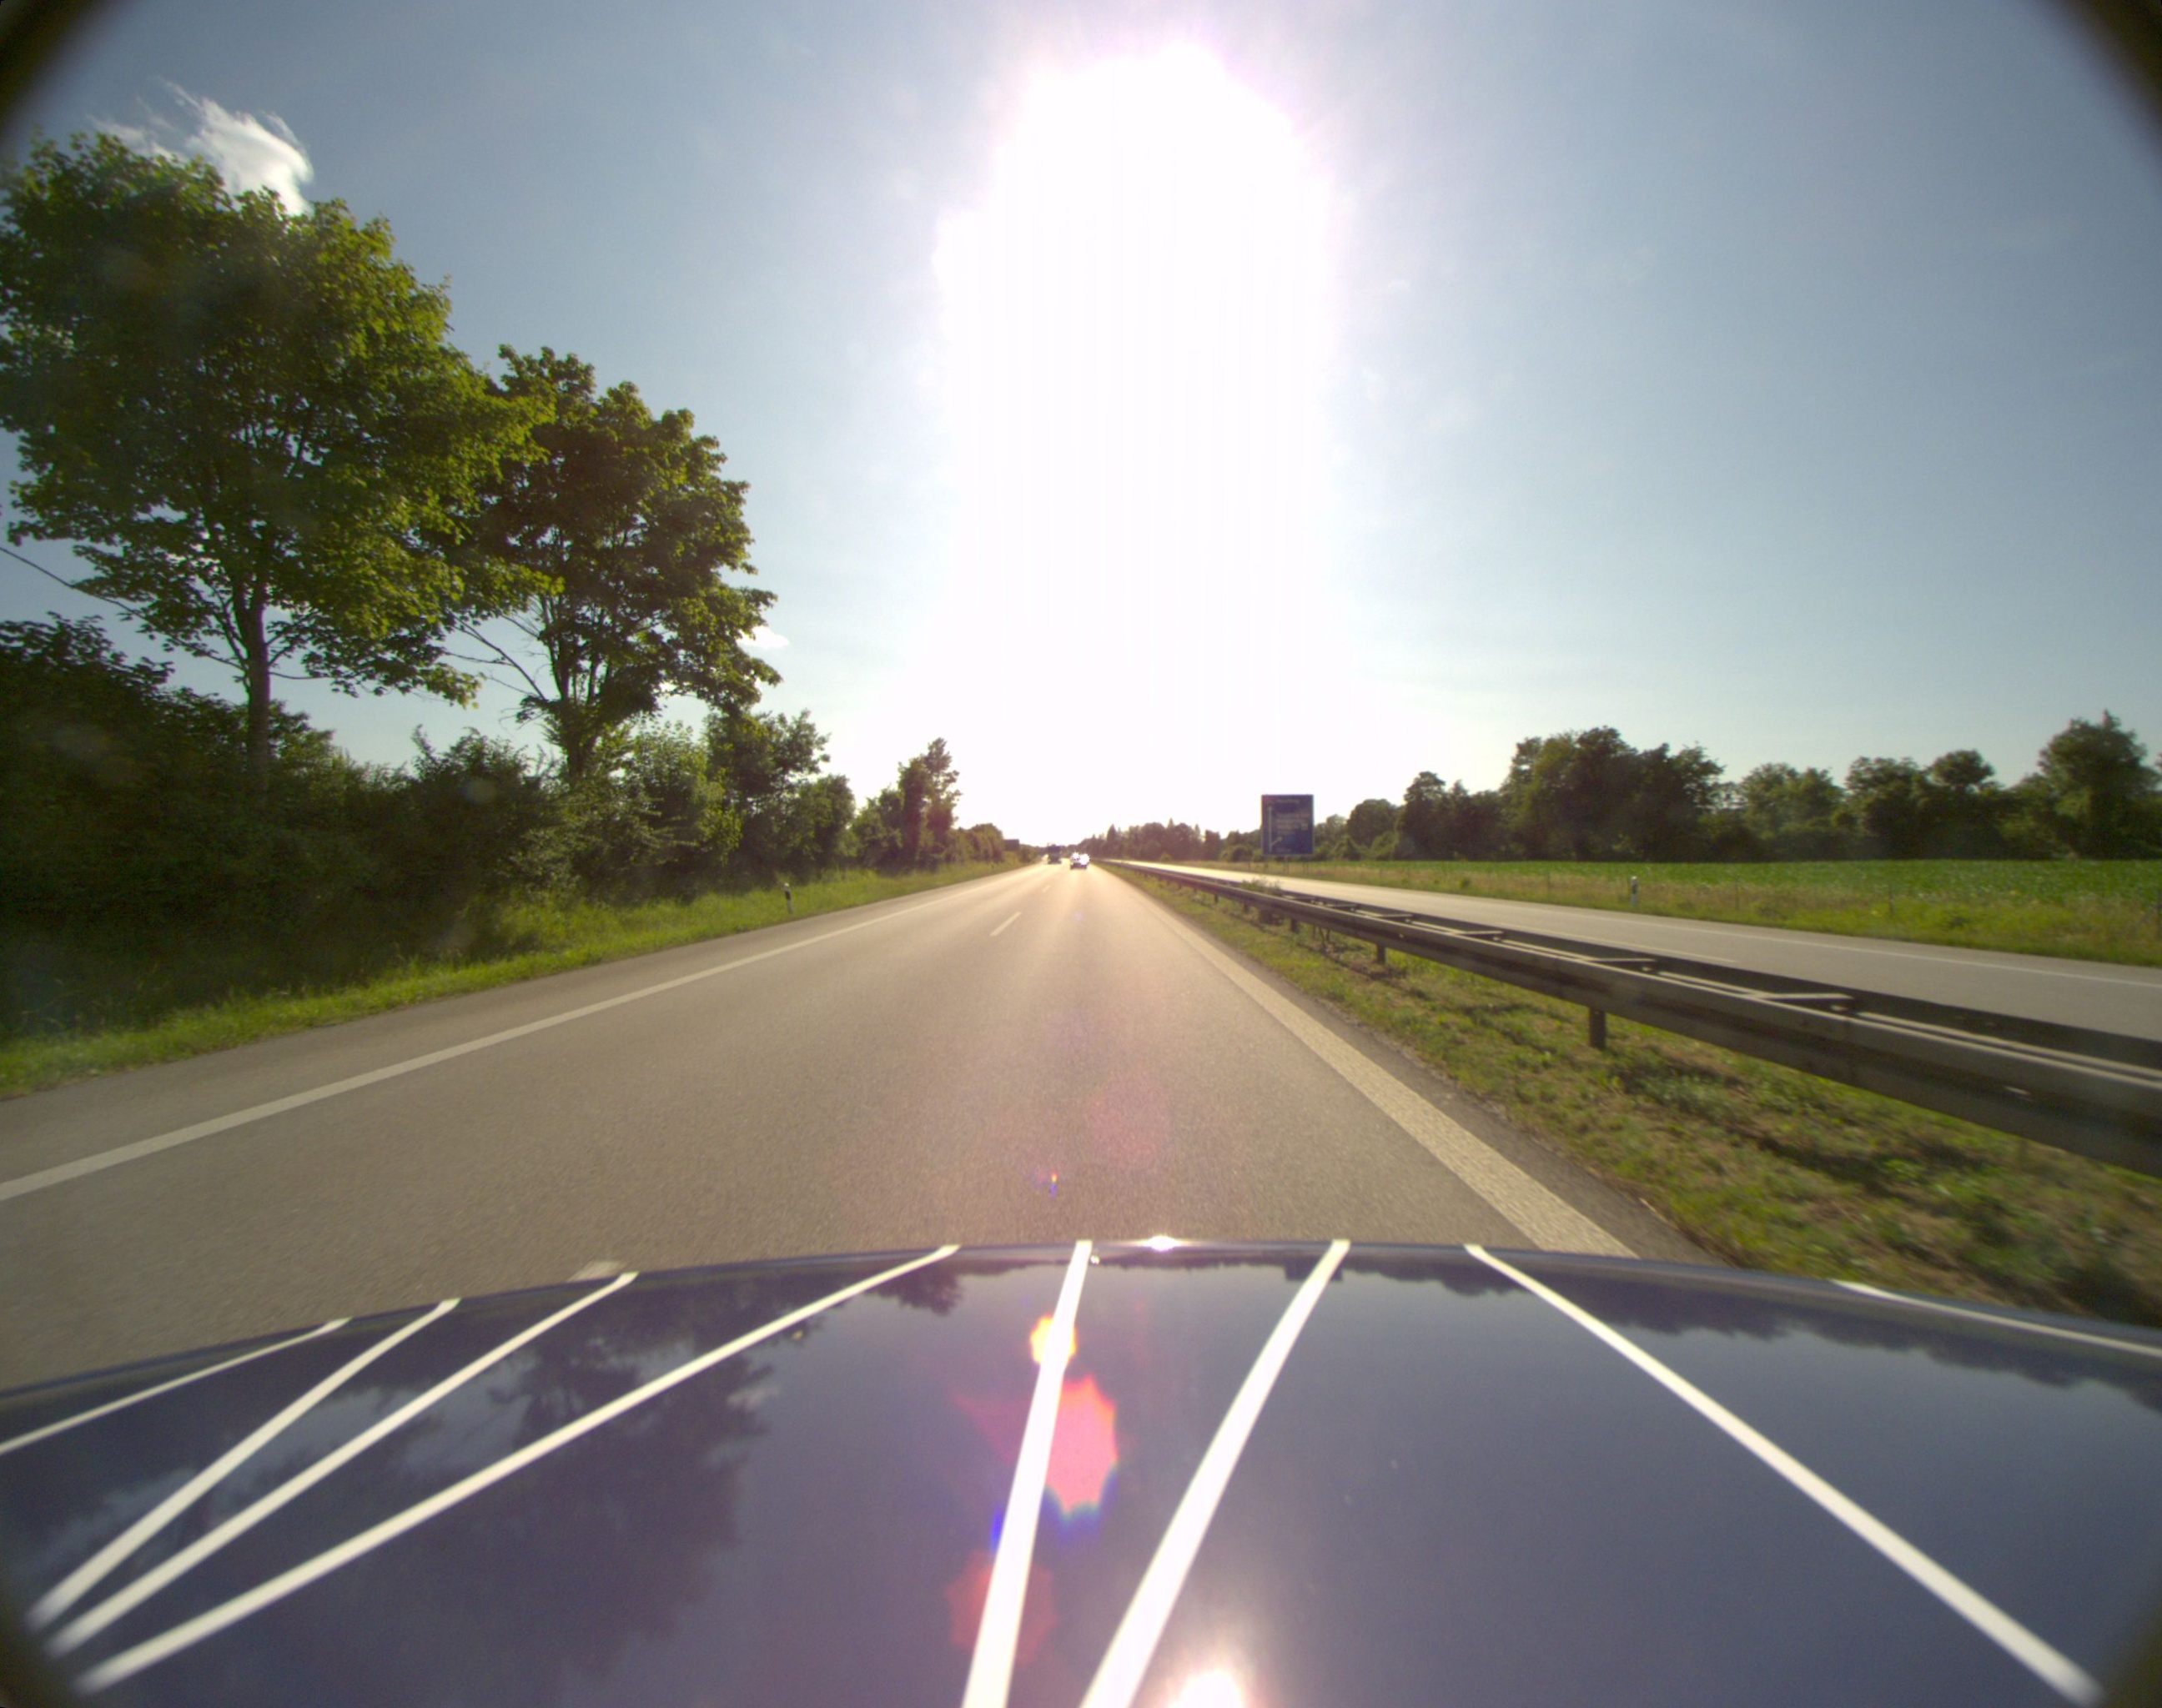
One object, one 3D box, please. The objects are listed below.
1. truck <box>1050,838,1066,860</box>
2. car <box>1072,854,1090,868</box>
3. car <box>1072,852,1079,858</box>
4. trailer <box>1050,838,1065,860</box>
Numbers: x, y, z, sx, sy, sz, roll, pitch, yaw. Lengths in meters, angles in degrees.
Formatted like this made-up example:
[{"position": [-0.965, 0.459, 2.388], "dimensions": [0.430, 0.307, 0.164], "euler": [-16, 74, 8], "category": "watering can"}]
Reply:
[{"position": [-4.331, -0.941, 139.409], "dimensions": [2.848, 3.943, 7.042], "euler": [0, 0, -3], "category": "truck"}, {"position": [0.009, 0.732, 82.583], "dimensions": [1.871, 1.514, 4.283], "euler": [1, 0, -1], "category": "car"}, {"position": [-1.272, 0.190, 180.889], "dimensions": [1.741, 1.514, 3.999], "euler": [-1, 1, -1], "category": "car"}, {"position": [-4.550, -0.900, 146.076], "dimensions": [2.826, 3.943, 14.157], "euler": [0, 0, -2], "category": "trailer"}]
